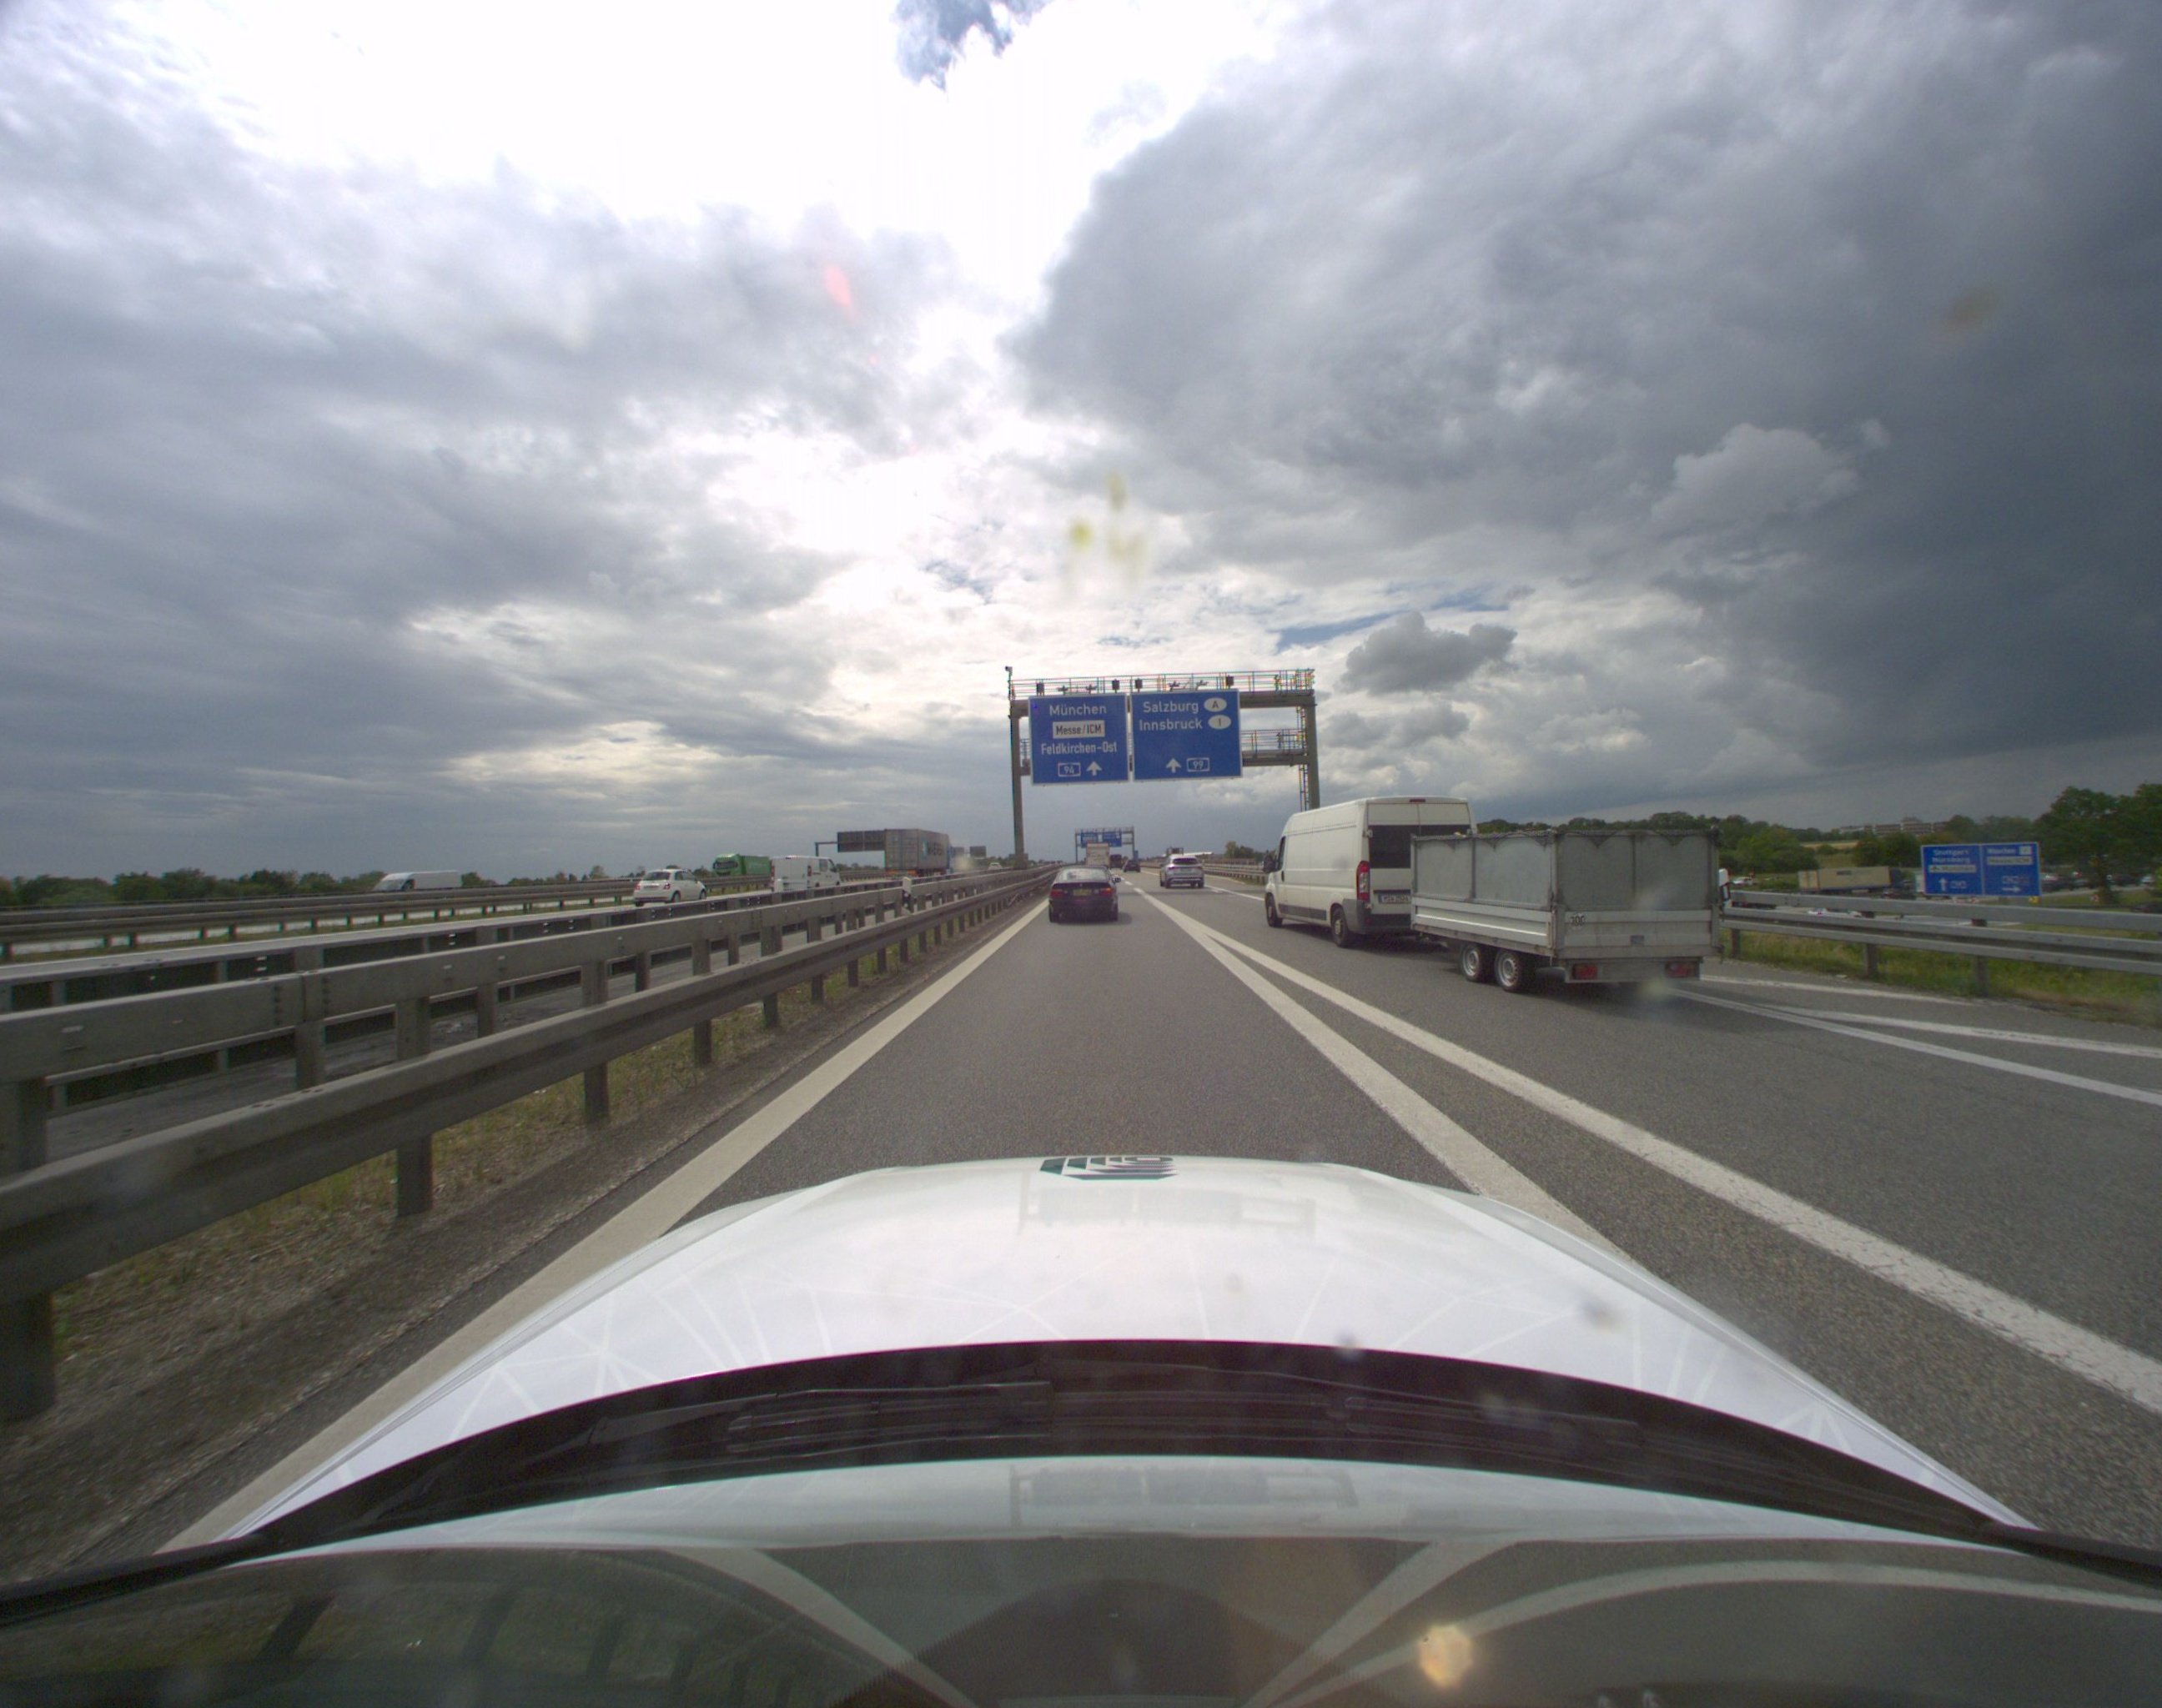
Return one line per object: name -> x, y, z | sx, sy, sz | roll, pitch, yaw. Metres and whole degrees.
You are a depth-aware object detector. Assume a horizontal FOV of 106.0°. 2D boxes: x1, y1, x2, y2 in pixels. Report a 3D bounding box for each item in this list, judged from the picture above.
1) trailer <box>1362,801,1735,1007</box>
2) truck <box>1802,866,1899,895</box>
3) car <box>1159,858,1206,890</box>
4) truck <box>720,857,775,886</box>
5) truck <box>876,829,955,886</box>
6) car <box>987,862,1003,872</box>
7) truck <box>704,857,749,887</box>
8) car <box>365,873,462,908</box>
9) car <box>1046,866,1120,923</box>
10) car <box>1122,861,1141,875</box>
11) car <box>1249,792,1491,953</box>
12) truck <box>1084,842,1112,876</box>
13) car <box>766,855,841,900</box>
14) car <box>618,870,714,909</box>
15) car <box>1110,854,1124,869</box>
trailer -> 5.433, 0.502, 10.358 | 1.851, 2.014, 4.625 | 0, 0, -4
truck -> 108.022, 3.668, 114.337 | 13.711, 3.936, 3.295 | 1, -1, -15
car -> 5.039, 0.989, 40.863 | 1.814, 1.514, 3.998 | 0, 0, -1
truck -> -44.311, 2.281, 108.627 | 3.003, 3.635, 10.435 | 0, 0, 0
truck -> -12.946, 0.293, 65.646 | 3.173, 4.019, 16.069 | 0, 0, 0
car -> -13.244, 1.995, 125.532 | 1.821, 1.563, 4.001 | -1, 0, 2
truck -> -44.355, 2.246, 102.136 | 3.031, 3.609, 5.893 | -1, -1, 0
car -> -46.368, 2.478, 56.775 | 2.189, 2.223, 5.517 | 0, 0, 0
car -> 0.125, 0.961, 20.910 | 1.697, 1.281, 4.368 | 0, 0, 2
car -> 5.575, 1.521, 89.974 | 1.878, 1.552, 4.000 | 0, 0, 0
car -> 5.074, 0.293, 15.553 | 2.110, 2.454, 6.143 | 0, 0, -4
truck -> 1.626, 0.575, 80.019 | 2.560, 3.126, 8.633 | 0, -2, 1
car -> -12.970, 1.061, 38.378 | 1.987, 2.014, 4.374 | 0, 0, 1
car -> -16.949, 1.415, 33.507 | 1.791, 1.420, 4.002 | 0, 0, 2
car -> 5.442, 1.173, 124.094 | 1.900, 2.262, 4.648 | 0, 0, 0
